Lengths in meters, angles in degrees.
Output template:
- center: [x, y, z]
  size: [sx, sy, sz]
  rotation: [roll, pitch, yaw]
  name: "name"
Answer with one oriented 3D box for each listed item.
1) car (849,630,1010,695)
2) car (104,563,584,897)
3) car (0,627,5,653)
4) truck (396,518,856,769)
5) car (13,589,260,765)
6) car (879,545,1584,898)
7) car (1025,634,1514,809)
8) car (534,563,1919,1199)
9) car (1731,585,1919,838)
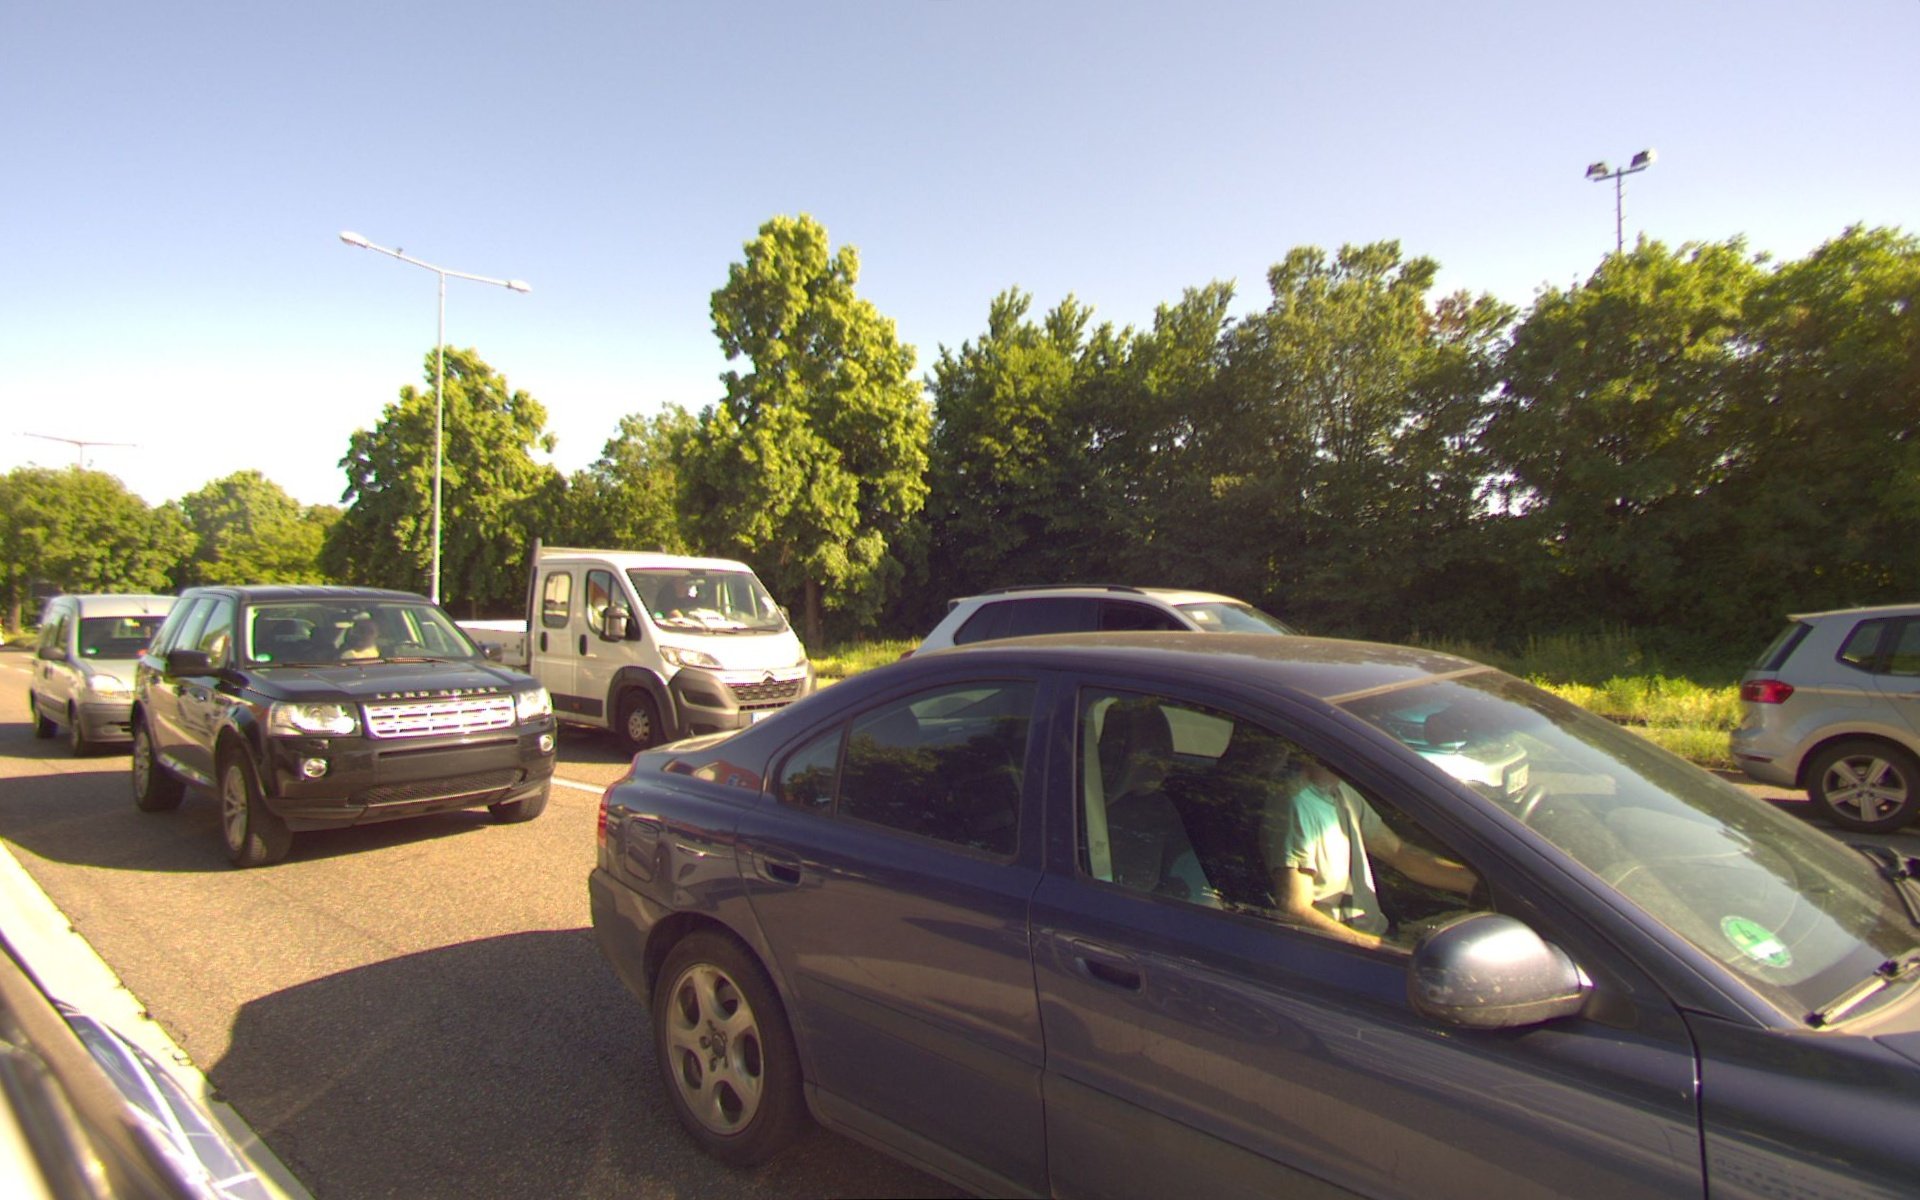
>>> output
- center: [-0.826, 1.521, 25.558]
  size: [4.001, 1.521, 1.668]
  rotation: [-2, -3, 41]
  name: "car"
- center: [-4.699, 0.703, 7.428]
  size: [4.384, 1.744, 1.793]
  rotation: [-1, -1, 41]
  name: "car"
- center: [-56.090, 2.294, 57.769]
  size: [3.995, 1.456, 1.705]
  rotation: [-1, -3, 39]
  name: "car"
- center: [-4.435, 0.438, 12.481]
  size: [6.838, 2.337, 2.158]
  rotation: [-1, -1, 40]
  name: "truck"
- center: [-10.056, 0.797, 12.230]
  size: [4.384, 1.765, 1.611]
  rotation: [-1, -1, 41]
  name: "car"
- center: [1.672, 0.667, 7.177]
  size: [4.422, 1.723, 1.973]
  rotation: [-2, -3, 41]
  name: "car"
- center: [3.028, 1.080, 10.554]
  size: [4.550, 1.440, 1.811]
  rotation: [-2, -3, 41]
  name: "car"
- center: [0.888, 0.693, 2.433]
  size: [4.454, 1.463, 1.757]
  rotation: [-1, 0, 41]
  name: "car"
- center: [7.627, 0.720, 6.422]
  size: [4.206, 1.623, 1.810]
  rotation: [-2, -3, 42]
  name: "car"
